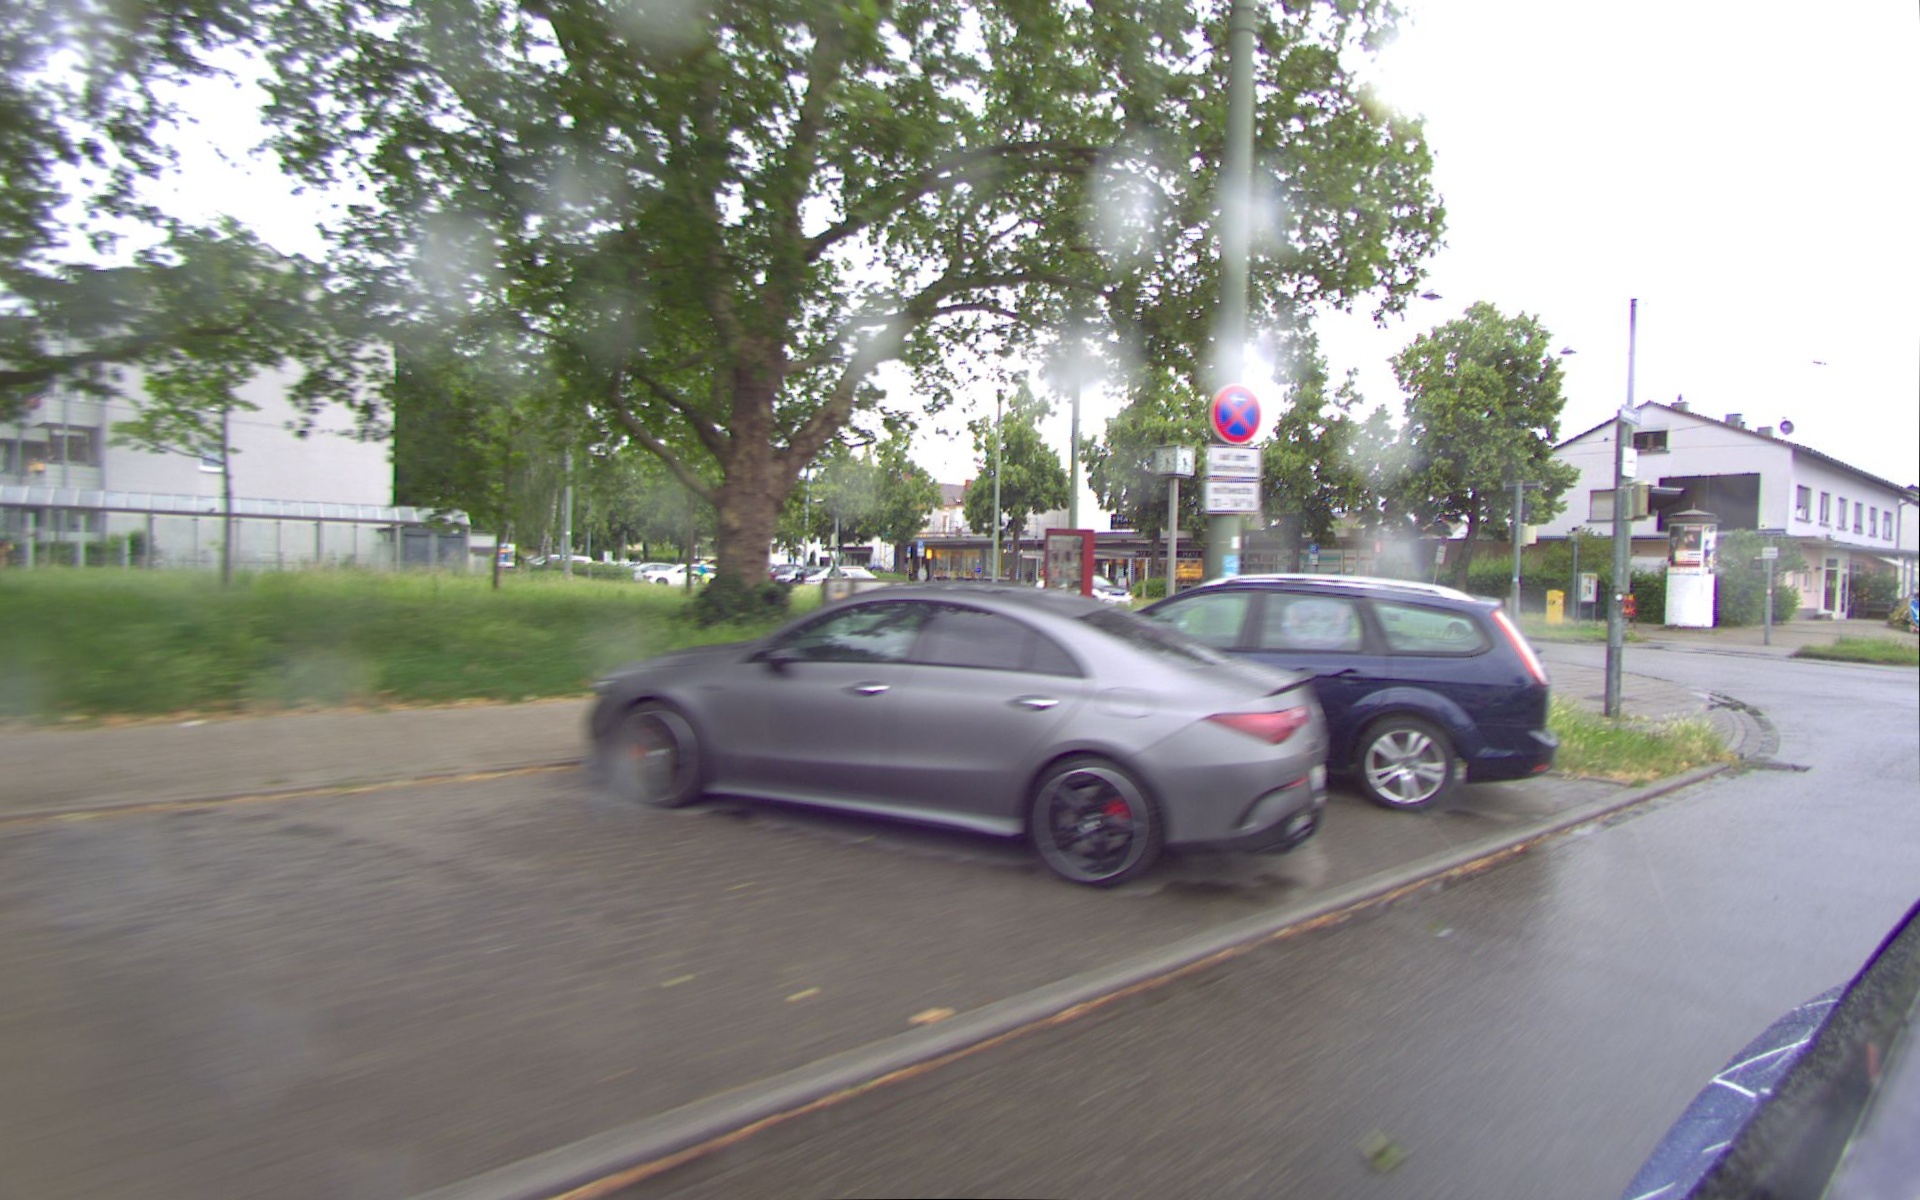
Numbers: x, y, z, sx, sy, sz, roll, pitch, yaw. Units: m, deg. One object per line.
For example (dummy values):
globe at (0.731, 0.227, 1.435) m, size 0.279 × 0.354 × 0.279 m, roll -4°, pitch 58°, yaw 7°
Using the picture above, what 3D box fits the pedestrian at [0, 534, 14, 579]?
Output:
pedestrian at (-34.284, -1.563, 36.122) m, size 0.625 × 1.591 × 0.789 m, roll -2°, pitch 3°, yaw -38°

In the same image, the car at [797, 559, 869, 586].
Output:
car at (-8.229, -1.819, 65.609) m, size 4.260 × 1.694 × 1.999 m, roll -2°, pitch 3°, yaw -39°

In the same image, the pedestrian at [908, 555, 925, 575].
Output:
pedestrian at (-3.572, -2.881, 82.791) m, size 1.058 × 1.603 × 0.950 m, roll 1°, pitch 2°, yaw -27°

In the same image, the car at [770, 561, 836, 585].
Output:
car at (-10.762, -1.869, 69.537) m, size 4.018 × 1.590 × 1.999 m, roll -2°, pitch 3°, yaw -39°

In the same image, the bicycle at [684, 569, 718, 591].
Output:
bicycle at (-13.882, -1.079, 54.299) m, size 0.723 × 1.144 × 1.733 m, roll 1°, pitch 1°, yaw 34°

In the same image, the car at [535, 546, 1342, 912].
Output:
car at (-0.164, 0.495, 6.064) m, size 4.499 × 1.494 × 1.790 m, roll 2°, pitch 1°, yaw 23°

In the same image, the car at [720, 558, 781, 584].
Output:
car at (-15.719, -2.199, 75.877) m, size 4.019 × 1.729 × 1.897 m, roll -4°, pitch 4°, yaw -39°

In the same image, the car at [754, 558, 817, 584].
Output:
car at (-12.309, -2.062, 71.514) m, size 4.018 × 1.730 × 1.897 m, roll -2°, pitch 3°, yaw -39°

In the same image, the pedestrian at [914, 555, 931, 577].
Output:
pedestrian at (-3.021, -2.745, 81.549) m, size 1.058 × 1.735 × 0.950 m, roll 1°, pitch 2°, yaw -27°

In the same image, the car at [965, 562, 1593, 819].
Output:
car at (2.291, 0.516, 7.870) m, size 4.128 × 1.494 × 1.792 m, roll 2°, pitch 1°, yaw 22°

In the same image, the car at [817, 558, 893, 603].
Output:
car at (-5.215, -1.021, 50.089) m, size 1.963 × 2.038 × 3.999 m, roll -3°, pitch 4°, yaw -37°

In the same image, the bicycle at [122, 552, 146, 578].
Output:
bicycle at (-31.013, -1.327, 37.992) m, size 1.300 × 0.959 × 0.412 m, roll 2°, pitch 3°, yaw 37°

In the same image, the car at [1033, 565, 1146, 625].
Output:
car at (4.770, -0.240, 37.736) m, size 1.964 × 2.038 × 3.998 m, roll -2°, pitch 4°, yaw -38°

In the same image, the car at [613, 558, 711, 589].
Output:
car at (-16.388, -1.467, 55.769) m, size 4.751 × 1.476 × 2.000 m, roll 2°, pitch 0°, yaw -37°

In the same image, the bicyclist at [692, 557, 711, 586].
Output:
bicyclist at (-13.886, -1.545, 54.292) m, size 0.720 × 1.535 × 0.690 m, roll 1°, pitch 1°, yaw 34°

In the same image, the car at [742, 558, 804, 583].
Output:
car at (-13.536, -2.137, 73.322) m, size 4.018 × 1.730 × 1.897 m, roll -2°, pitch 3°, yaw -39°

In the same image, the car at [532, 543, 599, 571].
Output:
car at (-29.471, -3.237, 75.685) m, size 4.369 × 2.087 × 1.721 m, roll -3°, pitch 4°, yaw -41°

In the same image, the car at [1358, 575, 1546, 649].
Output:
car at (12.666, 0.242, 26.333) m, size 1.923 × 1.571 × 4.009 m, roll 0°, pitch 4°, yaw -26°

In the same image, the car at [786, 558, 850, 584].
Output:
car at (-9.479, -1.933, 67.660) m, size 3.877 × 1.694 × 1.792 m, roll -2°, pitch 3°, yaw -39°
